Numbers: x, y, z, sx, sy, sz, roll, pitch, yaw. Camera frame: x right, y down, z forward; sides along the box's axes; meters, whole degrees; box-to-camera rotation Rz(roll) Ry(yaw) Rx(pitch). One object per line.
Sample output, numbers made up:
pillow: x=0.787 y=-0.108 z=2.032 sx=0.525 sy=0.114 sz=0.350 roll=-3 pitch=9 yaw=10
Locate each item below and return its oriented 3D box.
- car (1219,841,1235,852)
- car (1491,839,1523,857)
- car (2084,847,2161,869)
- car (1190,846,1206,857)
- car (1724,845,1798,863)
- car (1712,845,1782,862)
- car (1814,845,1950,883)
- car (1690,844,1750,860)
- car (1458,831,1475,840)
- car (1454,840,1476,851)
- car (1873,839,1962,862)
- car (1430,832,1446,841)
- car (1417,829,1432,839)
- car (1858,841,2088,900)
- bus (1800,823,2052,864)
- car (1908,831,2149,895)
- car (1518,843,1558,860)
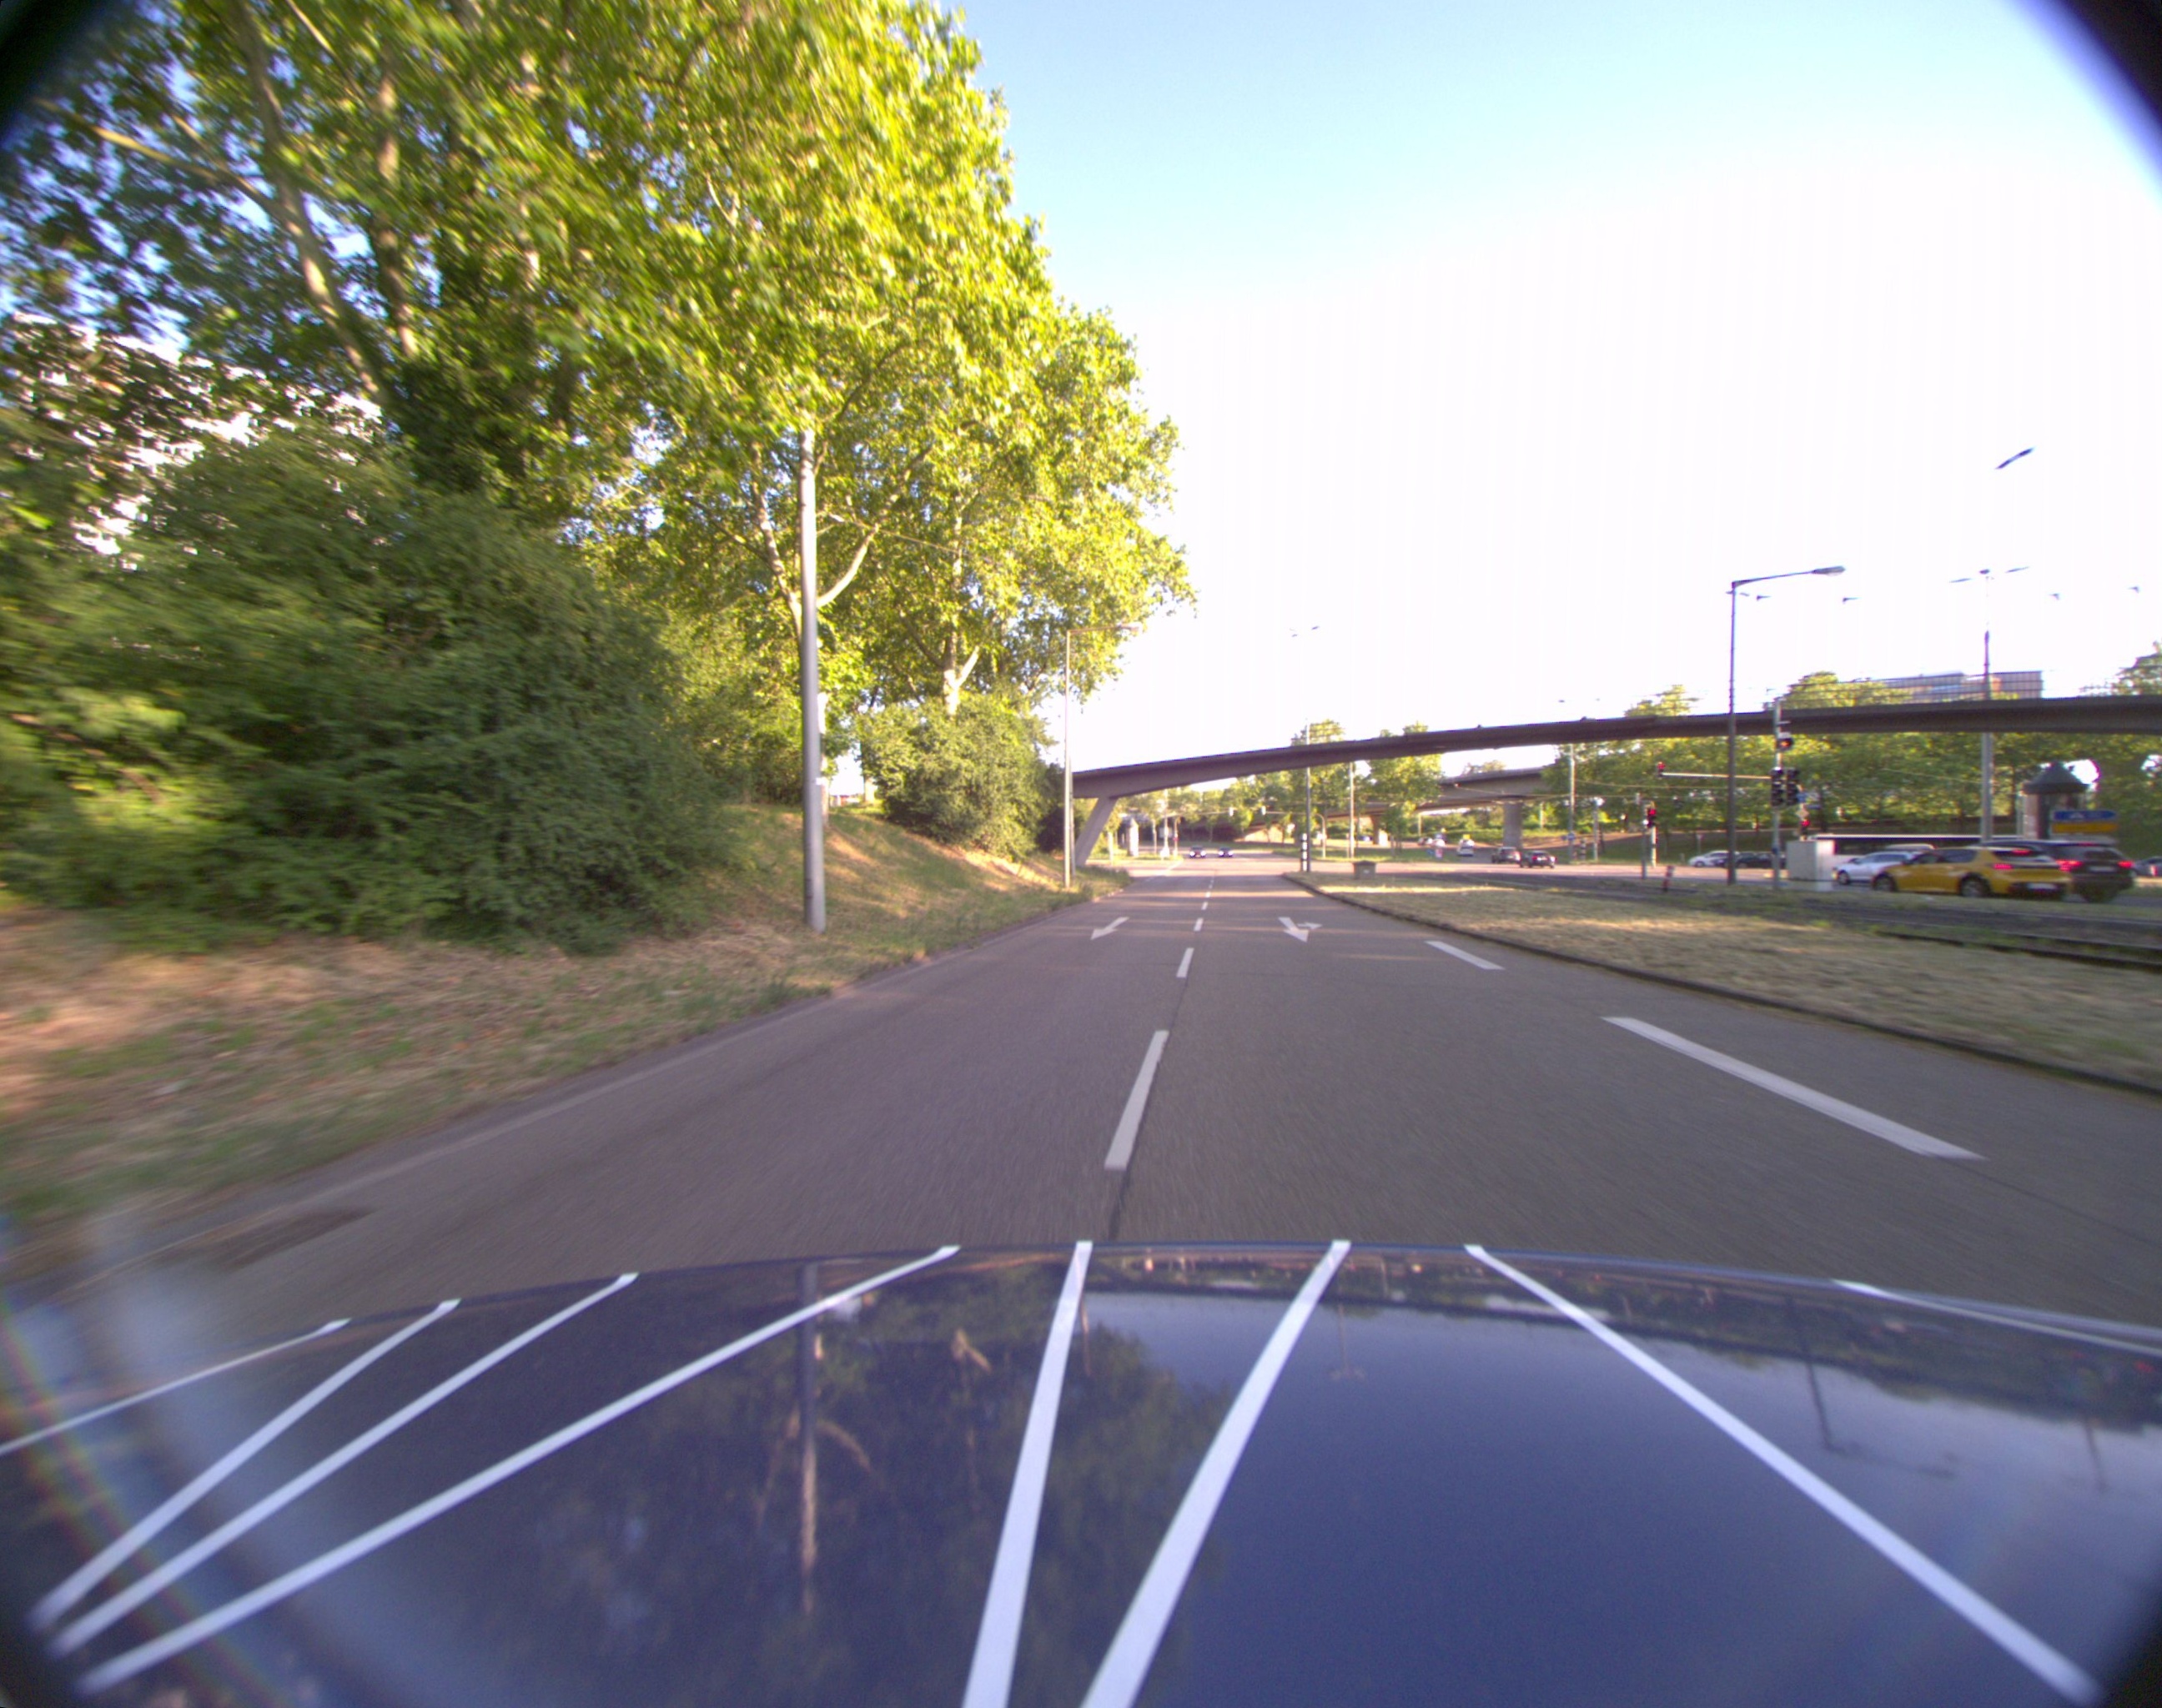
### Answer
car: x=20.186 y=-1.021 z=105.121 sx=1.997 sy=1.477 sz=4.002 roll=-1 pitch=0 yaw=7
car: x=41.947 y=-0.602 z=74.909 sx=1.793 sy=1.641 sz=4.362 roll=-1 pitch=1 yaw=17
car: x=74.046 y=0.264 z=53.344 sx=3.988 sy=1.434 sz=1.708 roll=0 pitch=2 yaw=33
car: x=15.722 y=-0.372 z=101.965 sx=1.997 sy=1.477 sz=4.002 roll=-1 pitch=0 yaw=9
car: x=52.954 y=0.012 z=59.262 sx=4.083 sy=1.346 sz=1.720 roll=0 pitch=2 yaw=33
car: x=54.165 y=-0.047 z=61.869 sx=3.989 sy=1.346 sz=1.612 roll=0 pitch=2 yaw=30
car: x=33.681 y=0.379 z=32.135 sx=1.689 sy=1.408 sz=4.441 roll=-2 pitch=1 yaw=11
car: x=55.170 y=-0.216 z=65.708 sx=3.724 sy=1.346 sz=1.612 roll=0 pitch=2 yaw=30
car: x=69.512 y=-3.313 z=136.969 sx=1.853 sy=1.600 sz=4.374 roll=0 pitch=1 yaw=15
car: x=51.612 y=-1.207 z=102.161 sx=2.007 sy=1.435 sz=4.866 roll=-1 pitch=1 yaw=19
car: x=62.052 y=-0.254 z=56.457 sx=4.083 sy=1.643 sz=1.720 roll=0 pitch=2 yaw=33
car: x=67.808 y=-3.358 z=144.232 sx=1.853 sy=1.600 sz=4.311 roll=0 pitch=1 yaw=13
car: x=69.556 y=-4.029 z=153.745 sx=1.854 sy=1.856 sz=4.148 roll=0 pitch=1 yaw=10
car: x=23.640 y=0.372 z=20.411 sx=1.841 sy=1.408 sz=4.021 roll=-1 pitch=1 yaw=9
bus: x=65.063 y=-0.819 z=59.230 sx=12.815 sy=2.938 sz=2.837 roll=0 pitch=2 yaw=34
car: x=27.305 y=0.222 z=22.190 sx=1.842 sy=1.645 sz=4.438 roll=-2 pitch=0 yaw=7
car: x=37.411 y=-0.218 z=62.256 sx=1.688 sy=1.302 sz=4.313 roll=-1 pitch=1 yaw=15
